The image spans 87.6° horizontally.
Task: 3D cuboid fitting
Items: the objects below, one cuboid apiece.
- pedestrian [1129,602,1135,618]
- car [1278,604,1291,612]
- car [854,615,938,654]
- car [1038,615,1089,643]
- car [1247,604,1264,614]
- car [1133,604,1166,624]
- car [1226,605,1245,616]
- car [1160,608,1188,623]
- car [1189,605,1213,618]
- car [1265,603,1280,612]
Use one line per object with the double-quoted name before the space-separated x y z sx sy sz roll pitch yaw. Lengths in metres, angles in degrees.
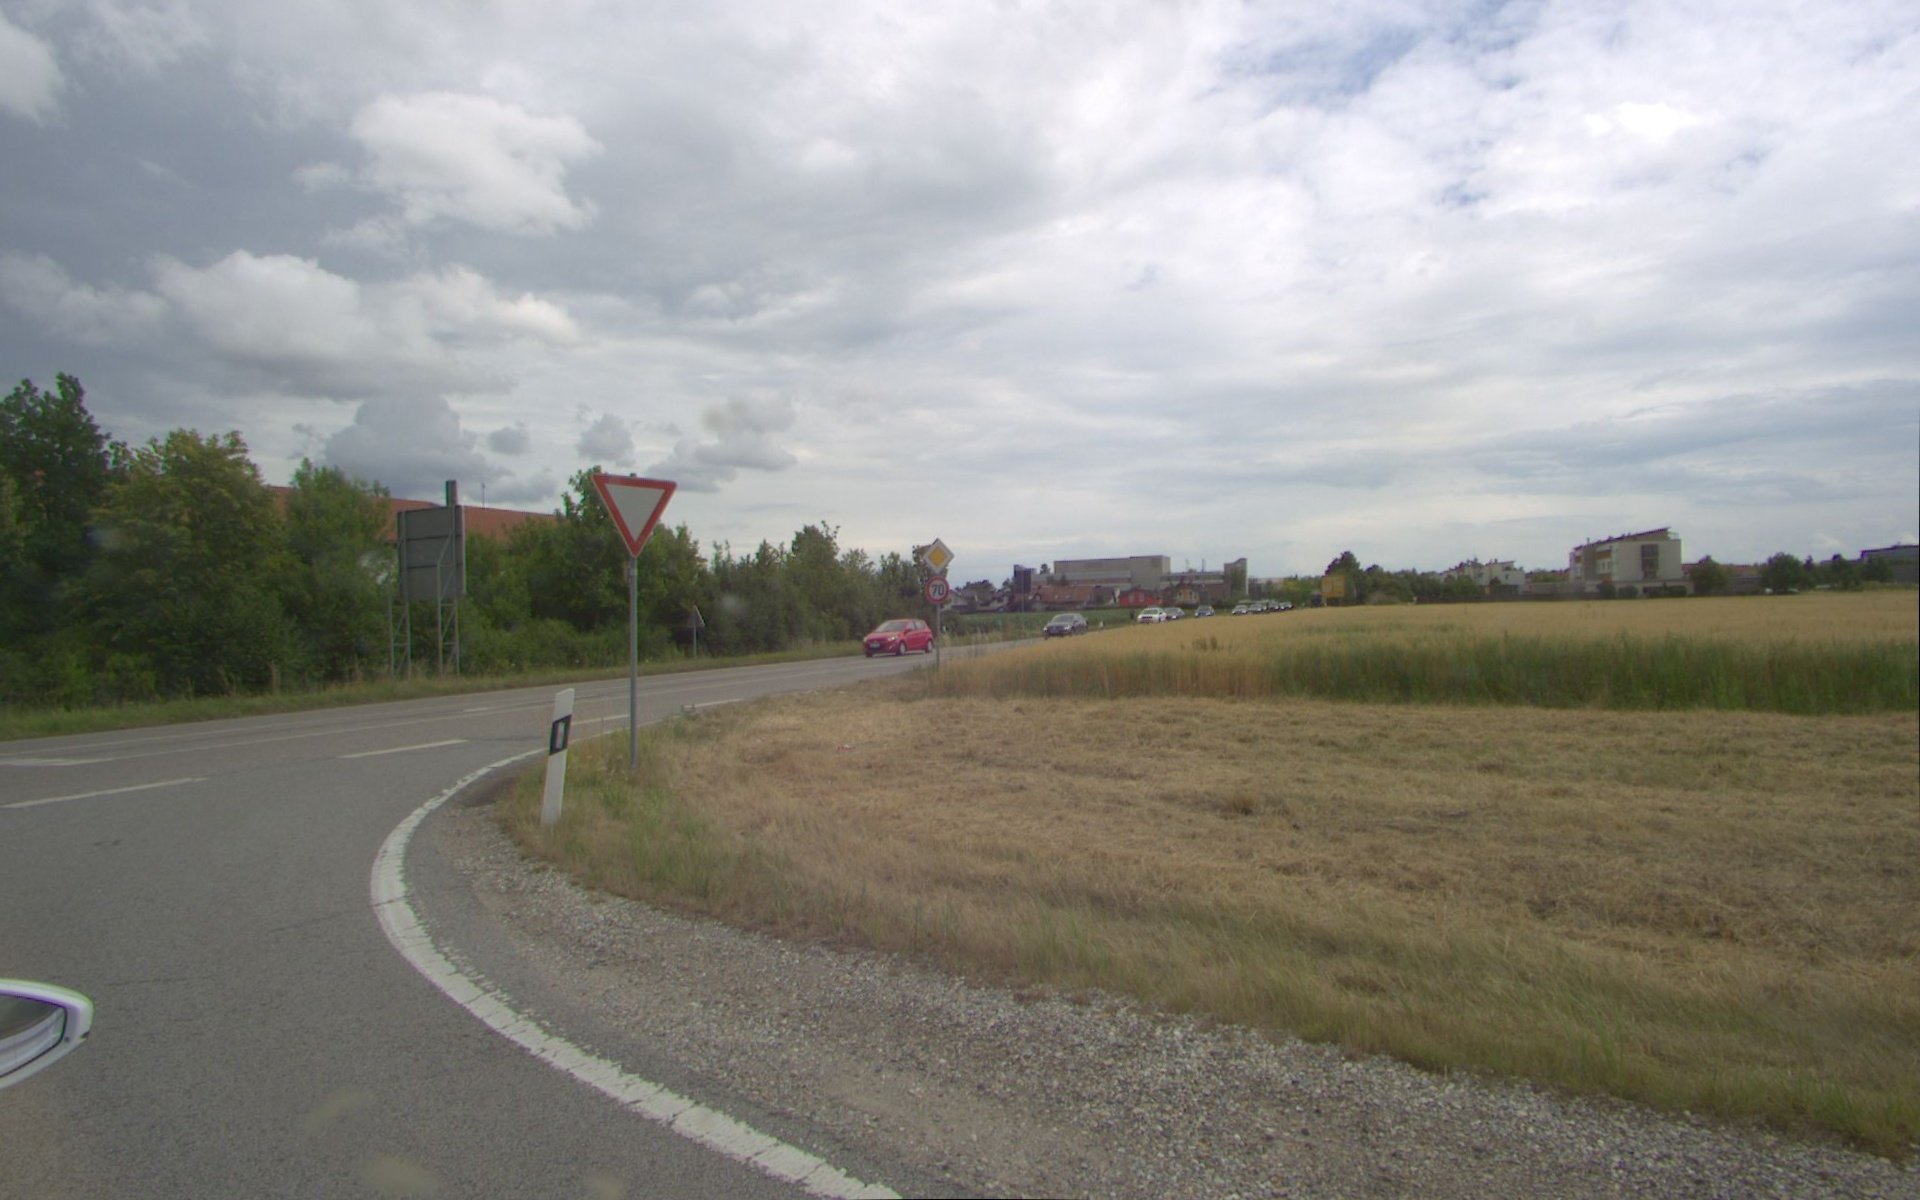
"pedestrian" 17.828 1.049 103.626 0.521 1.705 0.626 0 1 20
"car" 56.301 1.407 173.842 1.825 1.287 3.519 -1 0 23
"car" -2.620 1.425 41.872 1.826 1.486 3.987 -1 0 24
"car" 6.167 1.694 59.116 1.826 1.486 3.987 -1 0 24
"car" 41.272 1.259 139.967 1.825 1.287 3.519 -1 0 23
"car" 15.328 1.128 80.944 1.825 1.486 3.988 -1 0 23
"car" 34.745 1.311 126.036 1.825 1.287 3.519 -1 0 23
"car" 19.434 1.379 90.746 1.825 1.287 3.519 -1 0 23
"car" 24.737 1.154 102.698 1.825 1.287 3.519 -1 0 23
"car" 48.876 1.197 156.464 1.825 1.287 3.519 -1 0 23
